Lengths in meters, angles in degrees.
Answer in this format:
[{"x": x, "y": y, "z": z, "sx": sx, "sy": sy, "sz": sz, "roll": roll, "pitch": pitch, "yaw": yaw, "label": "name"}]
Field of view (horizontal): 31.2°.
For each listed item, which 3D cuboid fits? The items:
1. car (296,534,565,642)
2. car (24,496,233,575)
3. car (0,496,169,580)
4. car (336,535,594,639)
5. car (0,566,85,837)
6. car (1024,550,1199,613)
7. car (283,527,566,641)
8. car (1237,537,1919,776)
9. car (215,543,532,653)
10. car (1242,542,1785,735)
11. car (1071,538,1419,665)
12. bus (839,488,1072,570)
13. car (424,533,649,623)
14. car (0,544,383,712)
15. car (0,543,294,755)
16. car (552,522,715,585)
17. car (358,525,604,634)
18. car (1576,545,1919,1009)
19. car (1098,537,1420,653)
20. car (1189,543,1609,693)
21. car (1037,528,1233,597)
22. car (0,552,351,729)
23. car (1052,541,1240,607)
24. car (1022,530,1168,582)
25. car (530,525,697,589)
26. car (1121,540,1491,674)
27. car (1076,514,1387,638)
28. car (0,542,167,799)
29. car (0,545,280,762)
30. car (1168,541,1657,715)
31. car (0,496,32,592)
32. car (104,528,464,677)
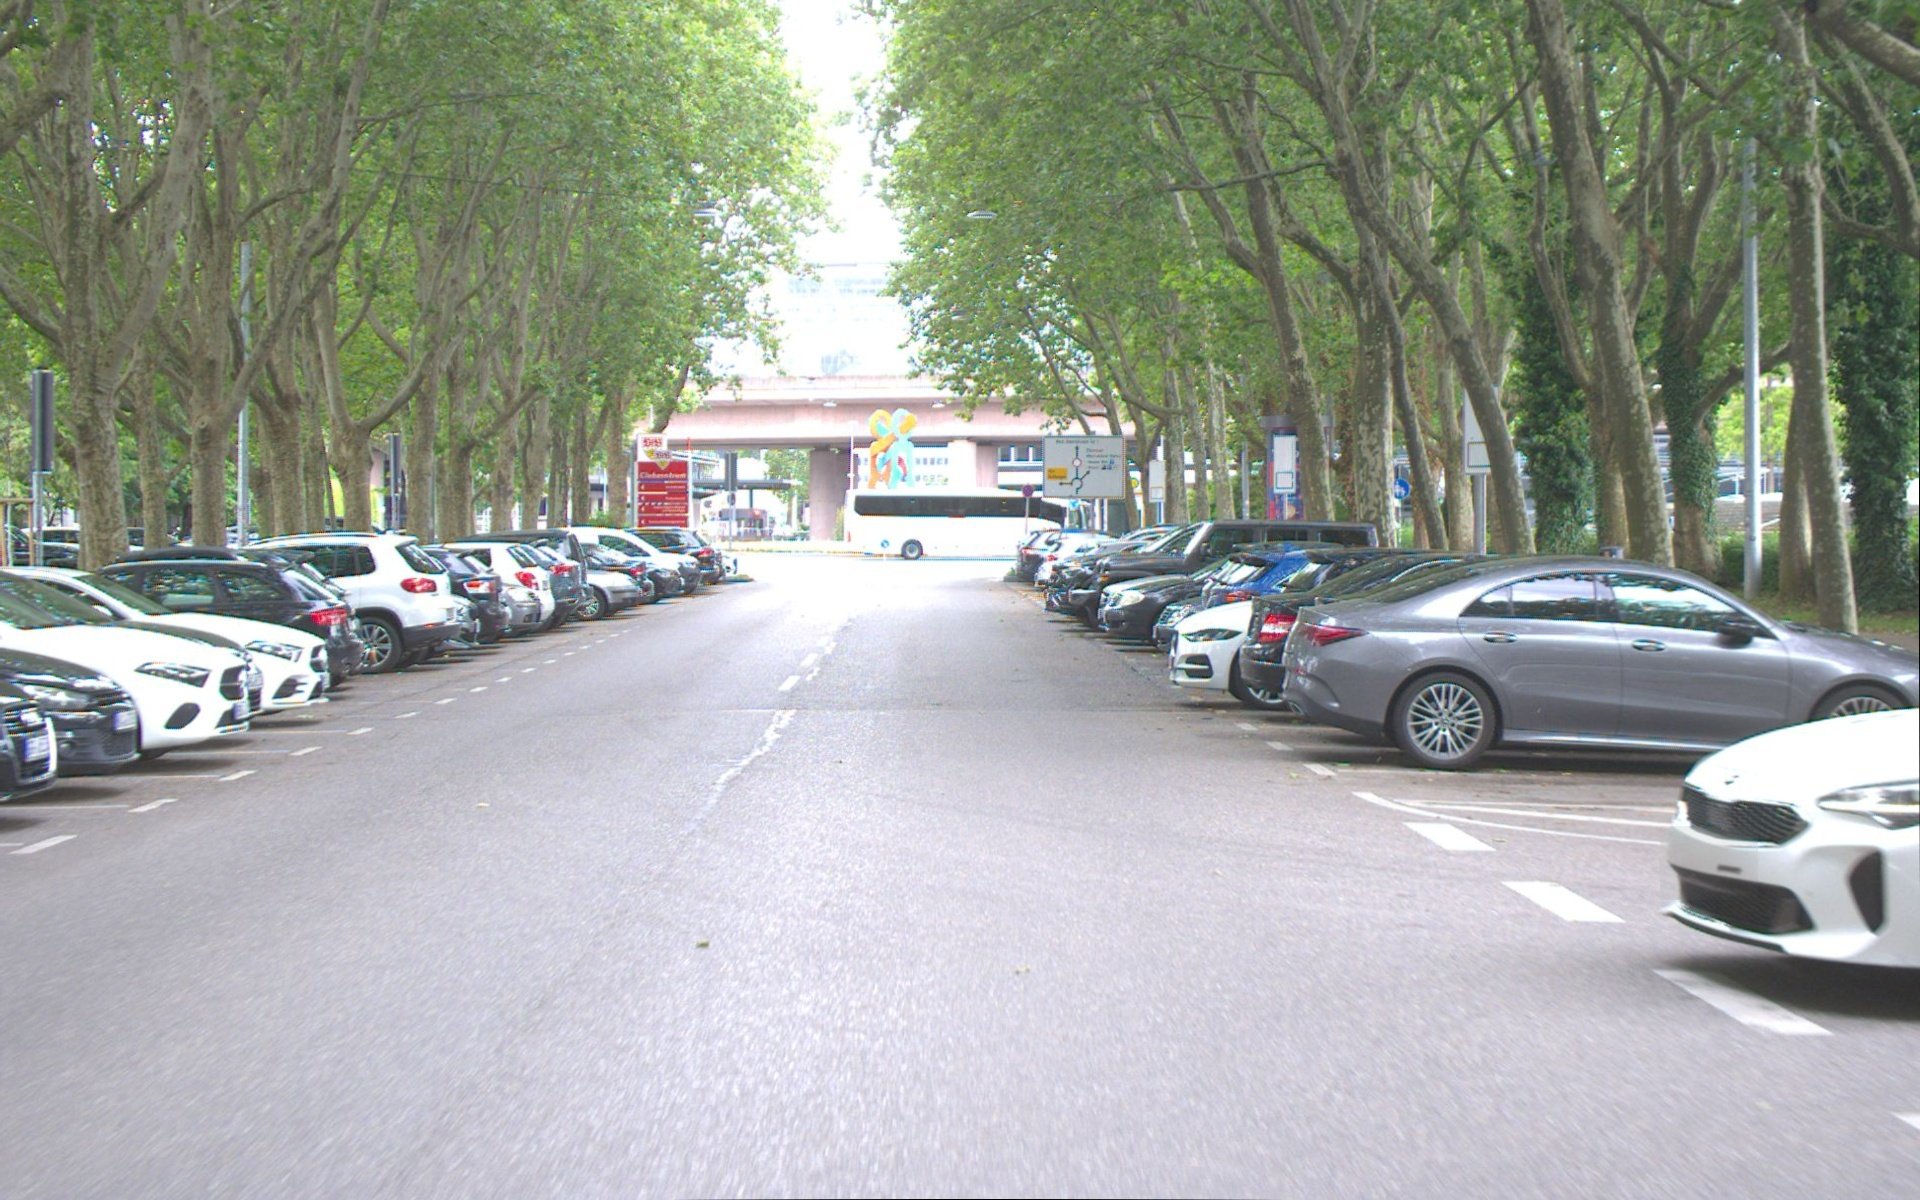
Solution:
[{"x": -8.230, "y": -0.197, "z": 53.631, "sx": 3.814, "sy": 1.510, "sz": 1.686, "roll": -2, "pitch": 1, "yaw": 5, "label": "car"}, {"x": -22.519, "y": -1.757, "z": 93.227, "sx": 5.078, "sy": 2.008, "sz": 2.175, "roll": 1, "pitch": 1, "yaw": 3, "label": "car"}, {"x": -22.619, "y": -1.574, "z": 85.995, "sx": 5.078, "sy": 2.008, "sz": 2.175, "roll": 1, "pitch": 1, "yaw": 3, "label": "car"}, {"x": -8.012, "y": -0.221, "z": 55.850, "sx": 3.814, "sy": 1.510, "sz": 1.686, "roll": -2, "pitch": 1, "yaw": 5, "label": "car"}, {"x": -7.055, "y": 0.593, "z": 18.562, "sx": 4.166, "sy": 1.376, "sz": 1.871, "roll": -2, "pitch": 1, "yaw": -2, "label": "car"}, {"x": 3.847, "y": -0.482, "z": 87.623, "sx": 4.376, "sy": 1.517, "sz": 1.731, "roll": 1, "pitch": 1, "yaw": 0, "label": "car"}, {"x": -7.921, "y": -0.249, "z": 51.018, "sx": 3.814, "sy": 1.510, "sz": 1.686, "roll": -2, "pitch": 1, "yaw": 5, "label": "car"}, {"x": 4.206, "y": 0.347, "z": 23.451, "sx": 4.575, "sy": 1.481, "sz": 2.000, "roll": 1, "pitch": 1, "yaw": 4, "label": "car"}, {"x": -7.823, "y": -0.043, "z": 46.074, "sx": 3.814, "sy": 1.292, "sz": 1.785, "roll": -2, "pitch": 1, "yaw": 5, "label": "car"}, {"x": 4.393, "y": 0.282, "z": 27.796, "sx": 4.176, "sy": 1.437, "sz": 1.731, "roll": 1, "pitch": 1, "yaw": 4, "label": "car"}, {"x": 3.466, "y": 0.005, "z": 42.291, "sx": 4.048, "sy": 1.463, "sz": 1.731, "roll": 1, "pitch": 1, "yaw": -3, "label": "car"}, {"x": -0.247, "y": -3.579, "z": 173.703, "sx": 11.571, "sy": 3.957, "sz": 2.455, "roll": -1, "pitch": 0, "yaw": -5, "label": "bus"}, {"x": -7.836, "y": -0.413, "z": 63.792, "sx": 3.814, "sy": 1.510, "sz": 1.686, "roll": -2, "pitch": 1, "yaw": 5, "label": "car"}, {"x": -7.779, "y": 0.267, "z": 33.779, "sx": 3.814, "sy": 1.479, "sz": 1.662, "roll": -2, "pitch": 1, "yaw": 5, "label": "car"}, {"x": -7.180, "y": 0.386, "z": 26.097, "sx": 3.814, "sy": 1.479, "sz": 1.662, "roll": -2, "pitch": 1, "yaw": 4, "label": "car"}, {"x": -8.112, "y": -1.160, "z": 85.611, "sx": 3.814, "sy": 1.510, "sz": 1.686, "roll": 1, "pitch": 1, "yaw": 3, "label": "car"}, {"x": -8.130, "y": -0.363, "z": 58.499, "sx": 3.814, "sy": 1.684, "sz": 1.686, "roll": -2, "pitch": 1, "yaw": 5, "label": "car"}, {"x": 4.893, "y": 0.637, "z": 12.040, "sx": 4.930, "sy": 1.397, "sz": 2.001, "roll": 3, "pitch": 1, "yaw": -11, "label": "car"}, {"x": 3.945, "y": -0.083, "z": 45.793, "sx": 4.048, "sy": 1.463, "sz": 1.731, "roll": 1, "pitch": 1, "yaw": -3, "label": "car"}, {"x": 4.474, "y": 0.160, "z": 35.462, "sx": 4.176, "sy": 1.437, "sz": 1.731, "roll": 1, "pitch": 1, "yaw": 4, "label": "car"}, {"x": 4.038, "y": -0.885, "z": 79.718, "sx": 4.376, "sy": 1.517, "sz": 1.731, "roll": 1, "pitch": 1, "yaw": -3, "label": "car"}, {"x": -7.185, "y": 0.342, "z": 28.620, "sx": 3.814, "sy": 1.326, "sz": 1.662, "roll": -2, "pitch": 1, "yaw": 5, "label": "car"}, {"x": 4.491, "y": -0.630, "z": 83.536, "sx": 4.376, "sy": 1.517, "sz": 1.731, "roll": 1, "pitch": 1, "yaw": -3, "label": "car"}, {"x": 4.092, "y": -1.355, "z": 104.946, "sx": 4.376, "sy": 1.517, "sz": 1.731, "roll": 1, "pitch": 1, "yaw": 0, "label": "car"}, {"x": -8.383, "y": -1.054, "z": 83.354, "sx": 3.814, "sy": 1.510, "sz": 1.686, "roll": 1, "pitch": 1, "yaw": 3, "label": "car"}, {"x": 3.990, "y": 0.067, "z": 40.029, "sx": 4.048, "sy": 1.463, "sz": 1.731, "roll": 1, "pitch": 1, "yaw": -3, "label": "car"}, {"x": 3.982, "y": -0.366, "z": 50.834, "sx": 4.376, "sy": 1.745, "sz": 1.731, "roll": 1, "pitch": 1, "yaw": -3, "label": "car"}, {"x": -6.947, "y": 0.460, "z": 20.956, "sx": 3.813, "sy": 1.479, "sz": 1.662, "roll": -2, "pitch": 1, "yaw": -2, "label": "car"}, {"x": -6.750, "y": 0.381, "z": 23.361, "sx": 3.814, "sy": 1.349, "sz": 1.662, "roll": -2, "pitch": 1, "yaw": 5, "label": "car"}, {"x": 3.957, "y": 0.223, "z": 30.558, "sx": 4.176, "sy": 1.437, "sz": 1.731, "roll": 1, "pitch": 1, "yaw": 4, "label": "car"}, {"x": -22.706, "y": -1.258, "z": 73.552, "sx": 5.078, "sy": 2.008, "sz": 2.175, "roll": 1, "pitch": 1, "yaw": 3, "label": "car"}, {"x": -8.012, "y": 0.015, "z": 40.936, "sx": 3.814, "sy": 1.597, "sz": 1.785, "roll": -2, "pitch": 1, "yaw": 5, "label": "car"}]
